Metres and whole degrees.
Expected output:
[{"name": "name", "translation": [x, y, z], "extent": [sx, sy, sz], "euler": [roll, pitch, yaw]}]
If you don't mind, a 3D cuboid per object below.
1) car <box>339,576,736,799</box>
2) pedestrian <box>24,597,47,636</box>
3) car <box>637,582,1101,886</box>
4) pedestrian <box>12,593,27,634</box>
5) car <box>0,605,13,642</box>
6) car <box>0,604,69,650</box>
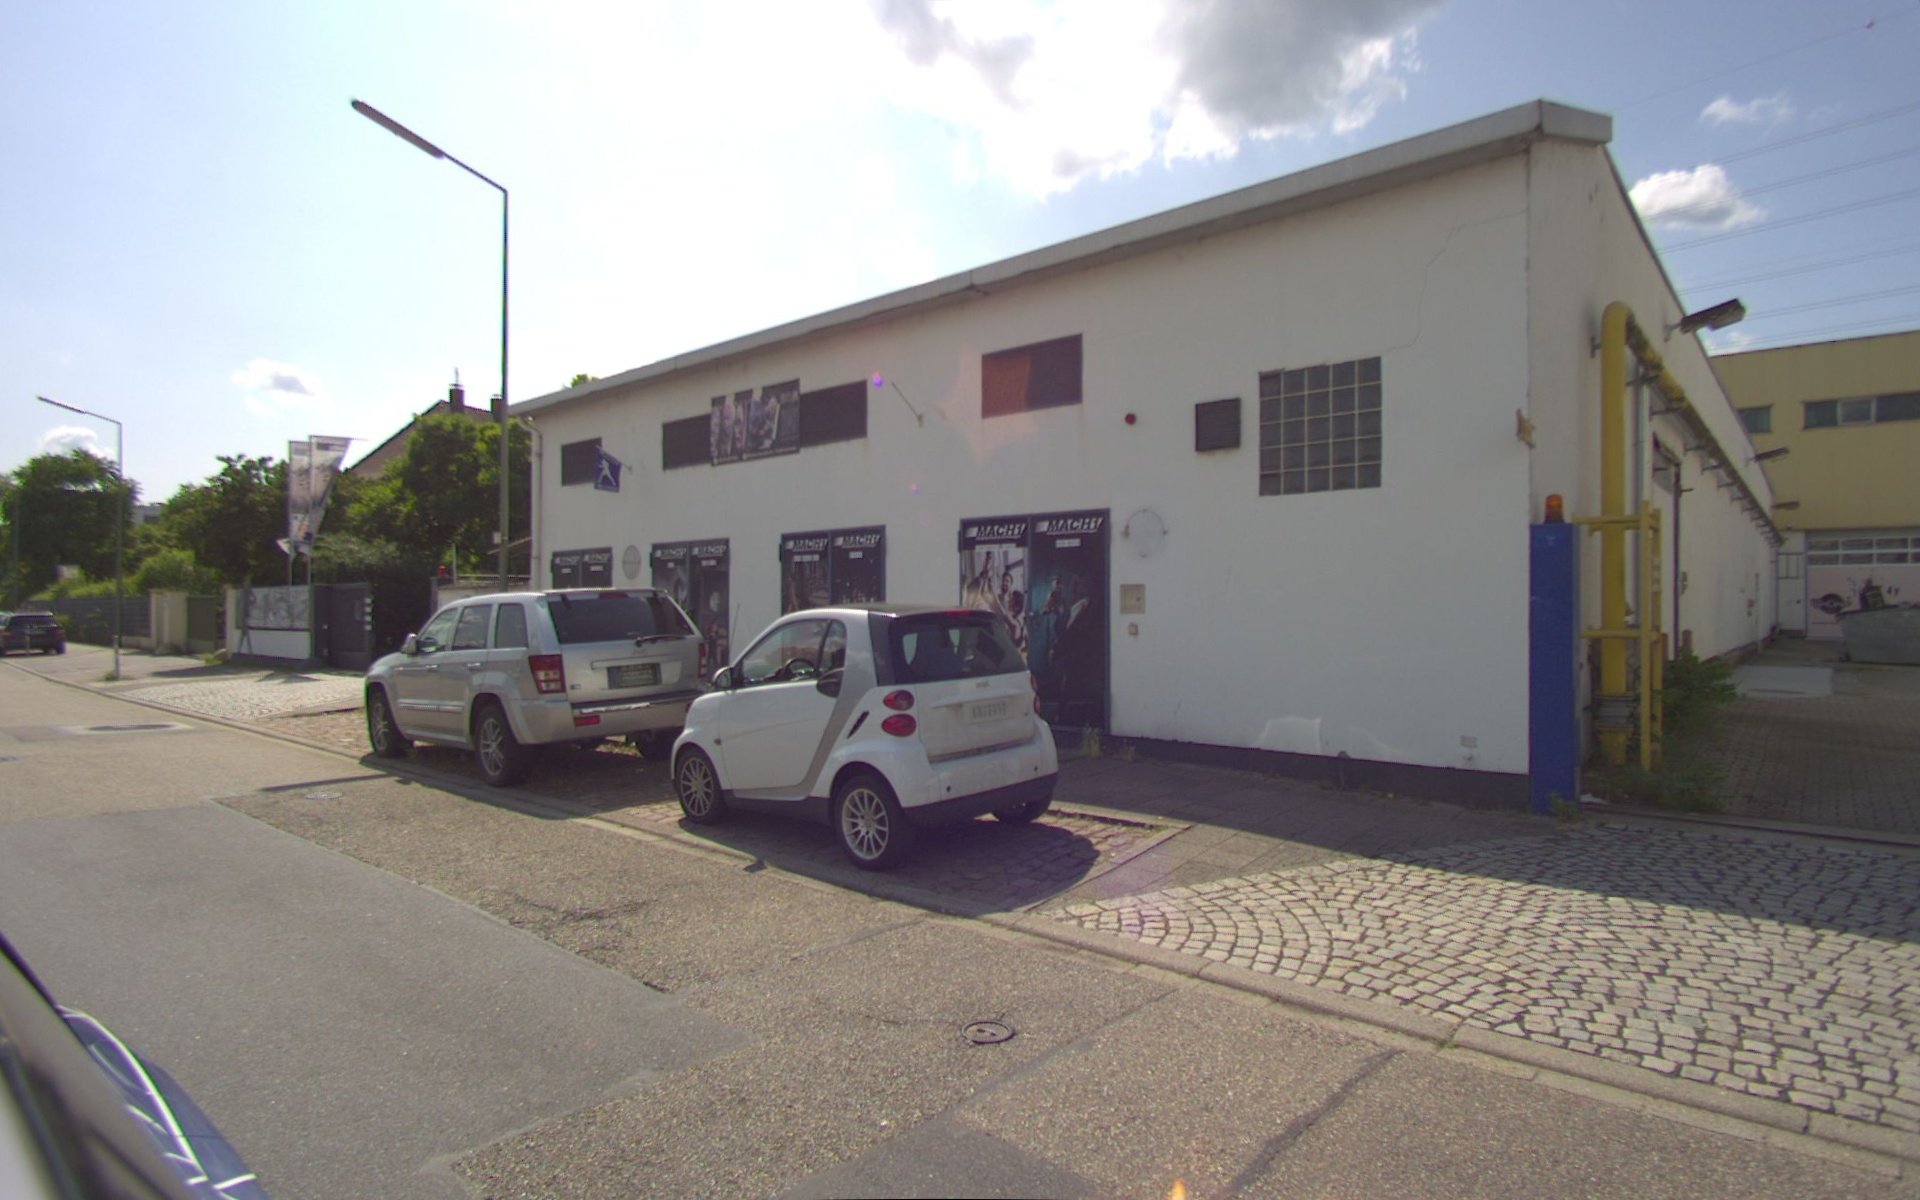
[{"name": "car", "translation": [-4.440, 0.677, 10.228], "extent": [4.749, 1.732, 1.772], "euler": [0, 2, 41]}, {"name": "pedestrian", "translation": [-43.623, 0.763, 47.746], "extent": [0.915, 1.814, 0.700], "euler": [0, 0, 41]}, {"name": "car", "translation": [-0.735, 0.729, 7.091], "extent": [3.009, 1.585, 1.592], "euler": [-1, 3, 43]}, {"name": "pedestrian", "translation": [-43.807, 0.608, 47.130], "extent": [0.677, 1.908, 0.446], "euler": [0, 0, 41]}, {"name": "car", "translation": [-41.264, 0.970, 42.504], "extent": [4.170, 1.534, 1.605], "euler": [0, -1, 38]}, {"name": "car", "translation": [-31.868, 0.882, 34.353], "extent": [4.493, 1.429, 1.787], "euler": [0, 1, 40]}]
